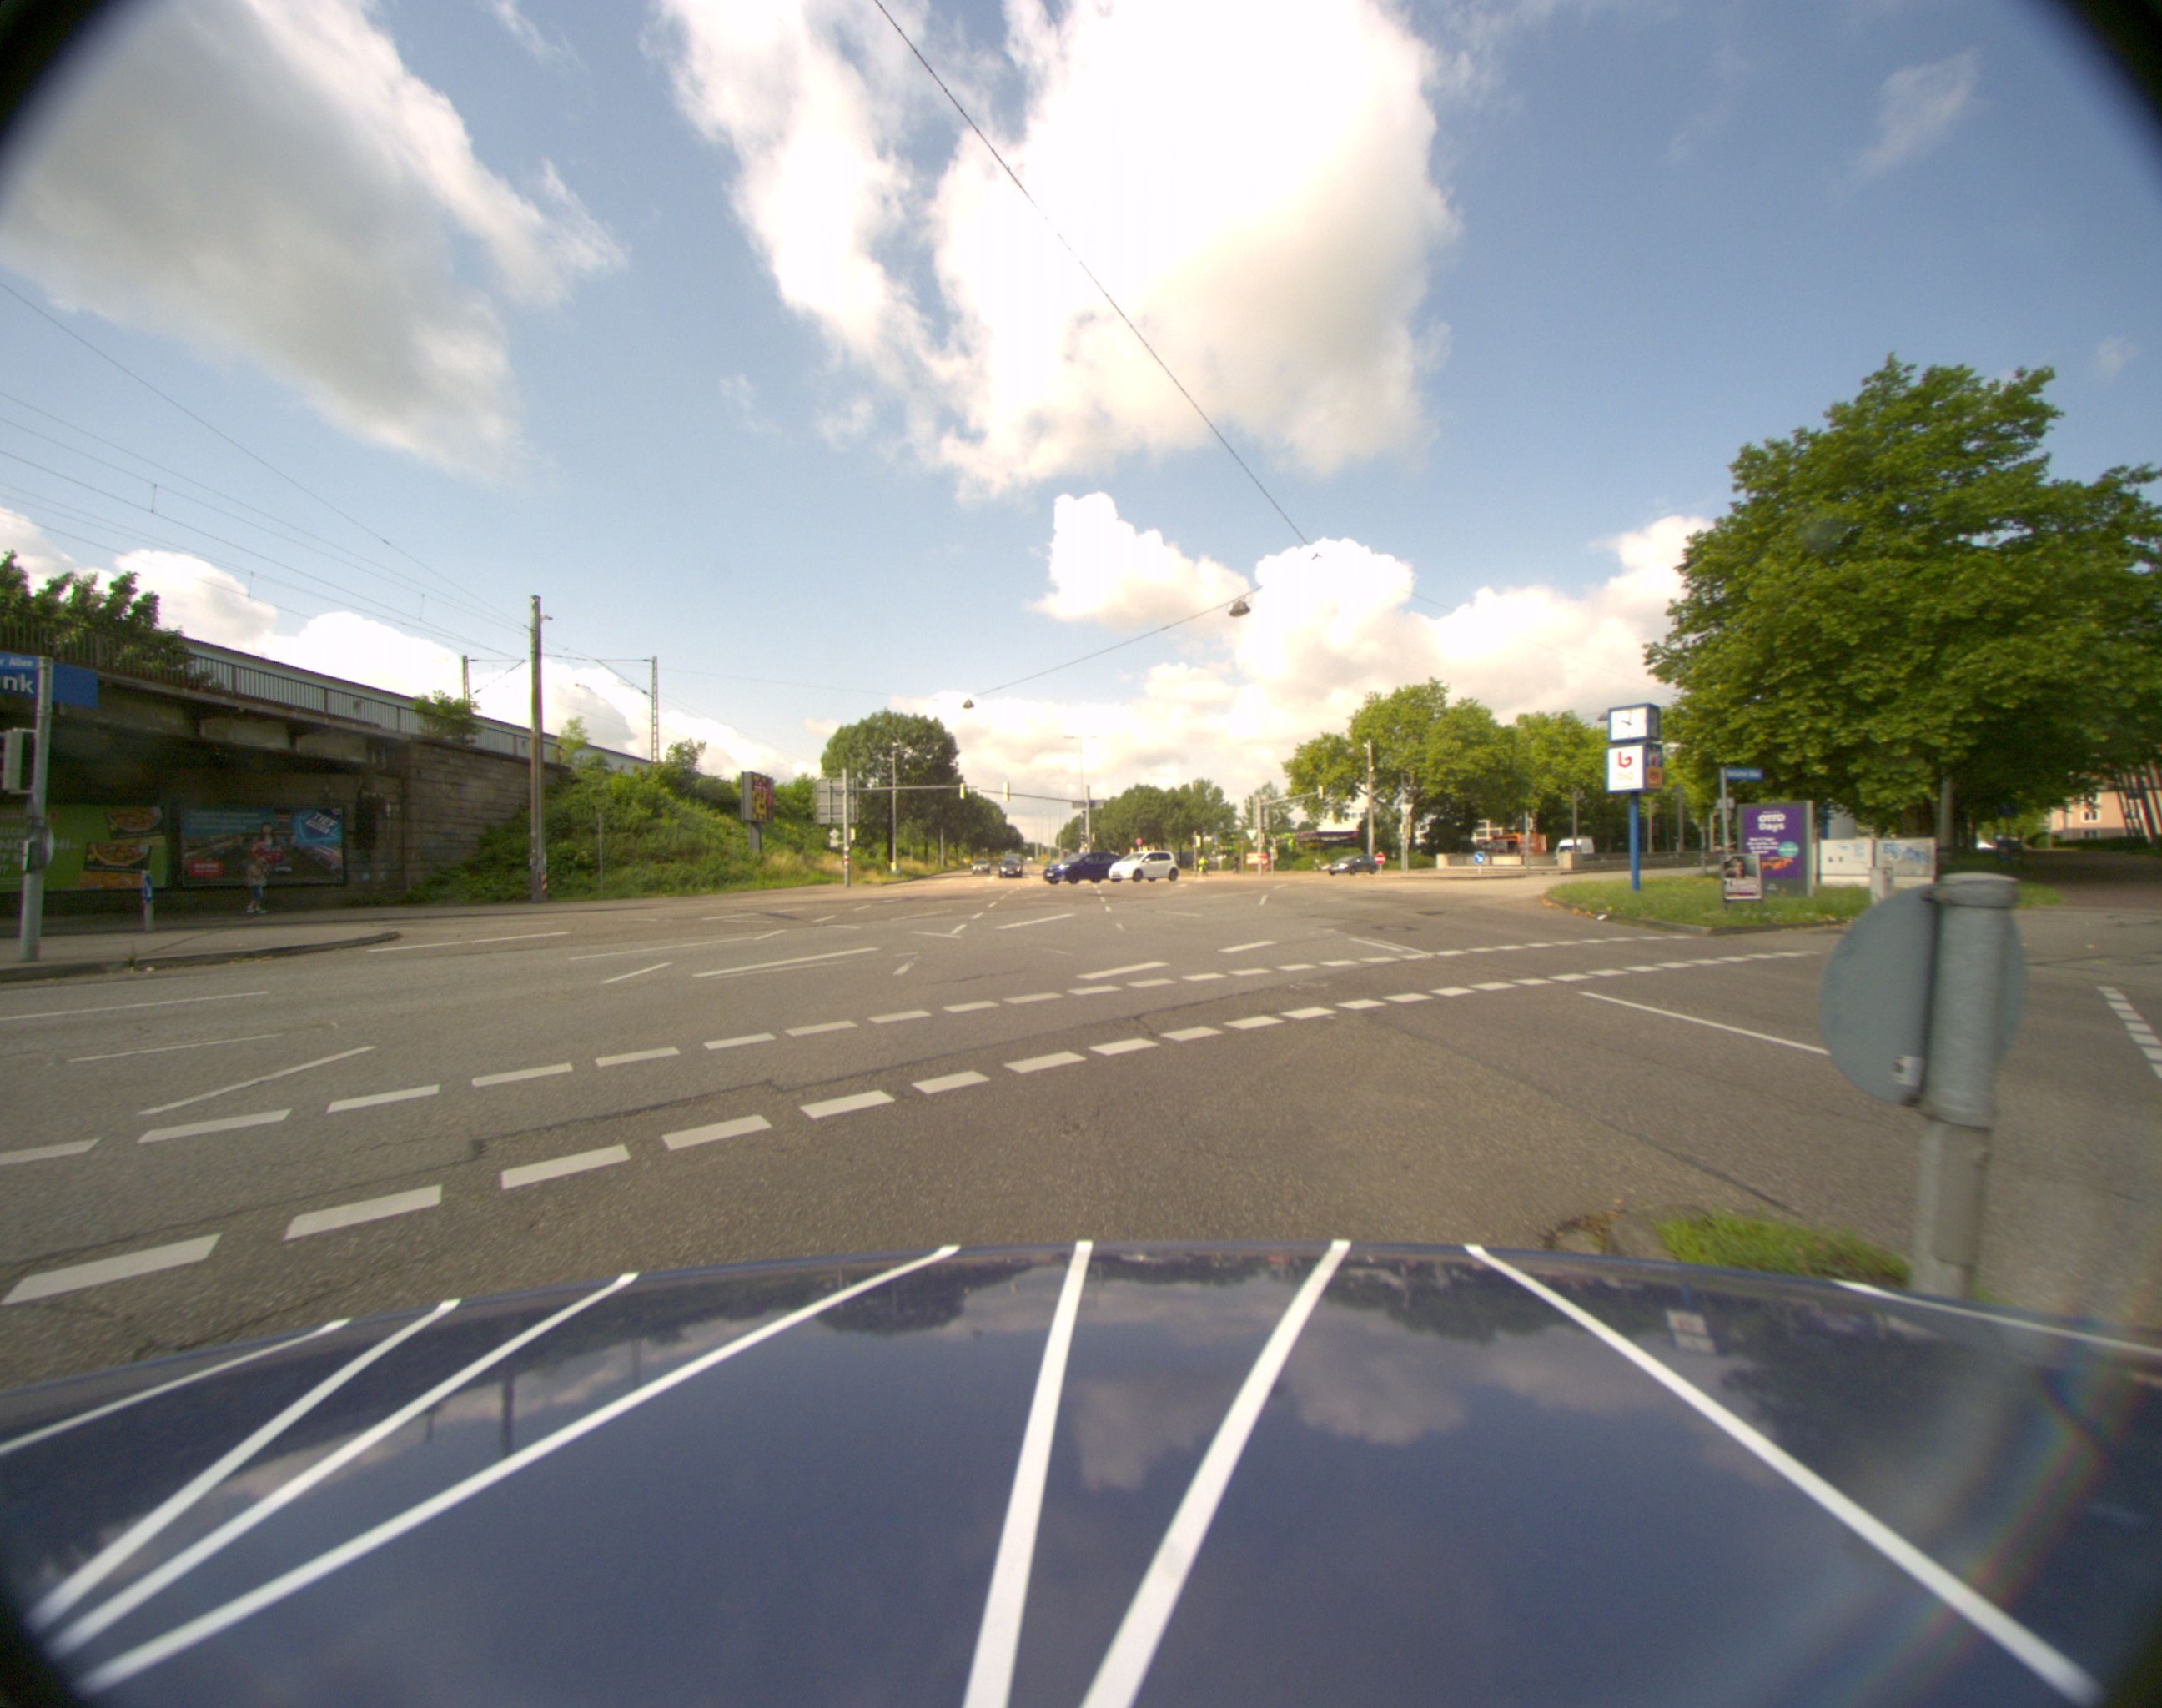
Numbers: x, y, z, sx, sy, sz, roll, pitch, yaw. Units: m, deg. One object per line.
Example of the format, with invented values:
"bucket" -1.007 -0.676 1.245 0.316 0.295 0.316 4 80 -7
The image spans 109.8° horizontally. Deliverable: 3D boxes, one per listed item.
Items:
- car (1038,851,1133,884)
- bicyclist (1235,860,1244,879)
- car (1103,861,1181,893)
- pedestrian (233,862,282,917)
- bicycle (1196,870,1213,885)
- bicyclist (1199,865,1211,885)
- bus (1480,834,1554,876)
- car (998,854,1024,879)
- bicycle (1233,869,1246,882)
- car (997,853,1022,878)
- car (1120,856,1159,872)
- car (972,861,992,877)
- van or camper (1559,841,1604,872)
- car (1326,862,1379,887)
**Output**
"car" 0.265 0.654 38.229 4.590 1.566 1.887 0 1 -40
"bicyclist" 14.413 1.393 69.072 0.677 1.676 0.755 -1 0 1
"car" 2.988 1.088 36.650 3.610 1.477 1.733 1 -1 -42
"pedestrian" -25.658 1.103 23.684 0.692 1.642 0.608 -2 4 -10
"bicycle" 11.077 2.087 68.014 0.678 1.190 2.230 -5 3 -11
"bicyclist" 11.039 1.852 67.851 0.678 1.670 0.836 -5 3 -12
"bus" 42.369 -0.042 73.660 10.412 3.448 2.738 -4 5 -40
"car" -5.250 0.932 57.670 1.741 1.511 3.825 -1 4 -3
"bicycle" 14.377 1.943 68.903 0.791 1.189 2.233 -1 0 1
"car" -5.892 0.912 62.826 1.976 1.740 4.019 0 5 -6
"car" 5.400 0.920 70.443 1.753 1.470 3.790 1 -1 -28
"car" -9.551 1.410 73.534 1.717 1.477 3.998 -1 0 -4
"van or camper" 50.504 0.215 76.581 5.976 2.771 2.158 -4 5 -41
"car" 19.411 1.416 54.262 4.006 1.456 1.768 -5 2 -40
